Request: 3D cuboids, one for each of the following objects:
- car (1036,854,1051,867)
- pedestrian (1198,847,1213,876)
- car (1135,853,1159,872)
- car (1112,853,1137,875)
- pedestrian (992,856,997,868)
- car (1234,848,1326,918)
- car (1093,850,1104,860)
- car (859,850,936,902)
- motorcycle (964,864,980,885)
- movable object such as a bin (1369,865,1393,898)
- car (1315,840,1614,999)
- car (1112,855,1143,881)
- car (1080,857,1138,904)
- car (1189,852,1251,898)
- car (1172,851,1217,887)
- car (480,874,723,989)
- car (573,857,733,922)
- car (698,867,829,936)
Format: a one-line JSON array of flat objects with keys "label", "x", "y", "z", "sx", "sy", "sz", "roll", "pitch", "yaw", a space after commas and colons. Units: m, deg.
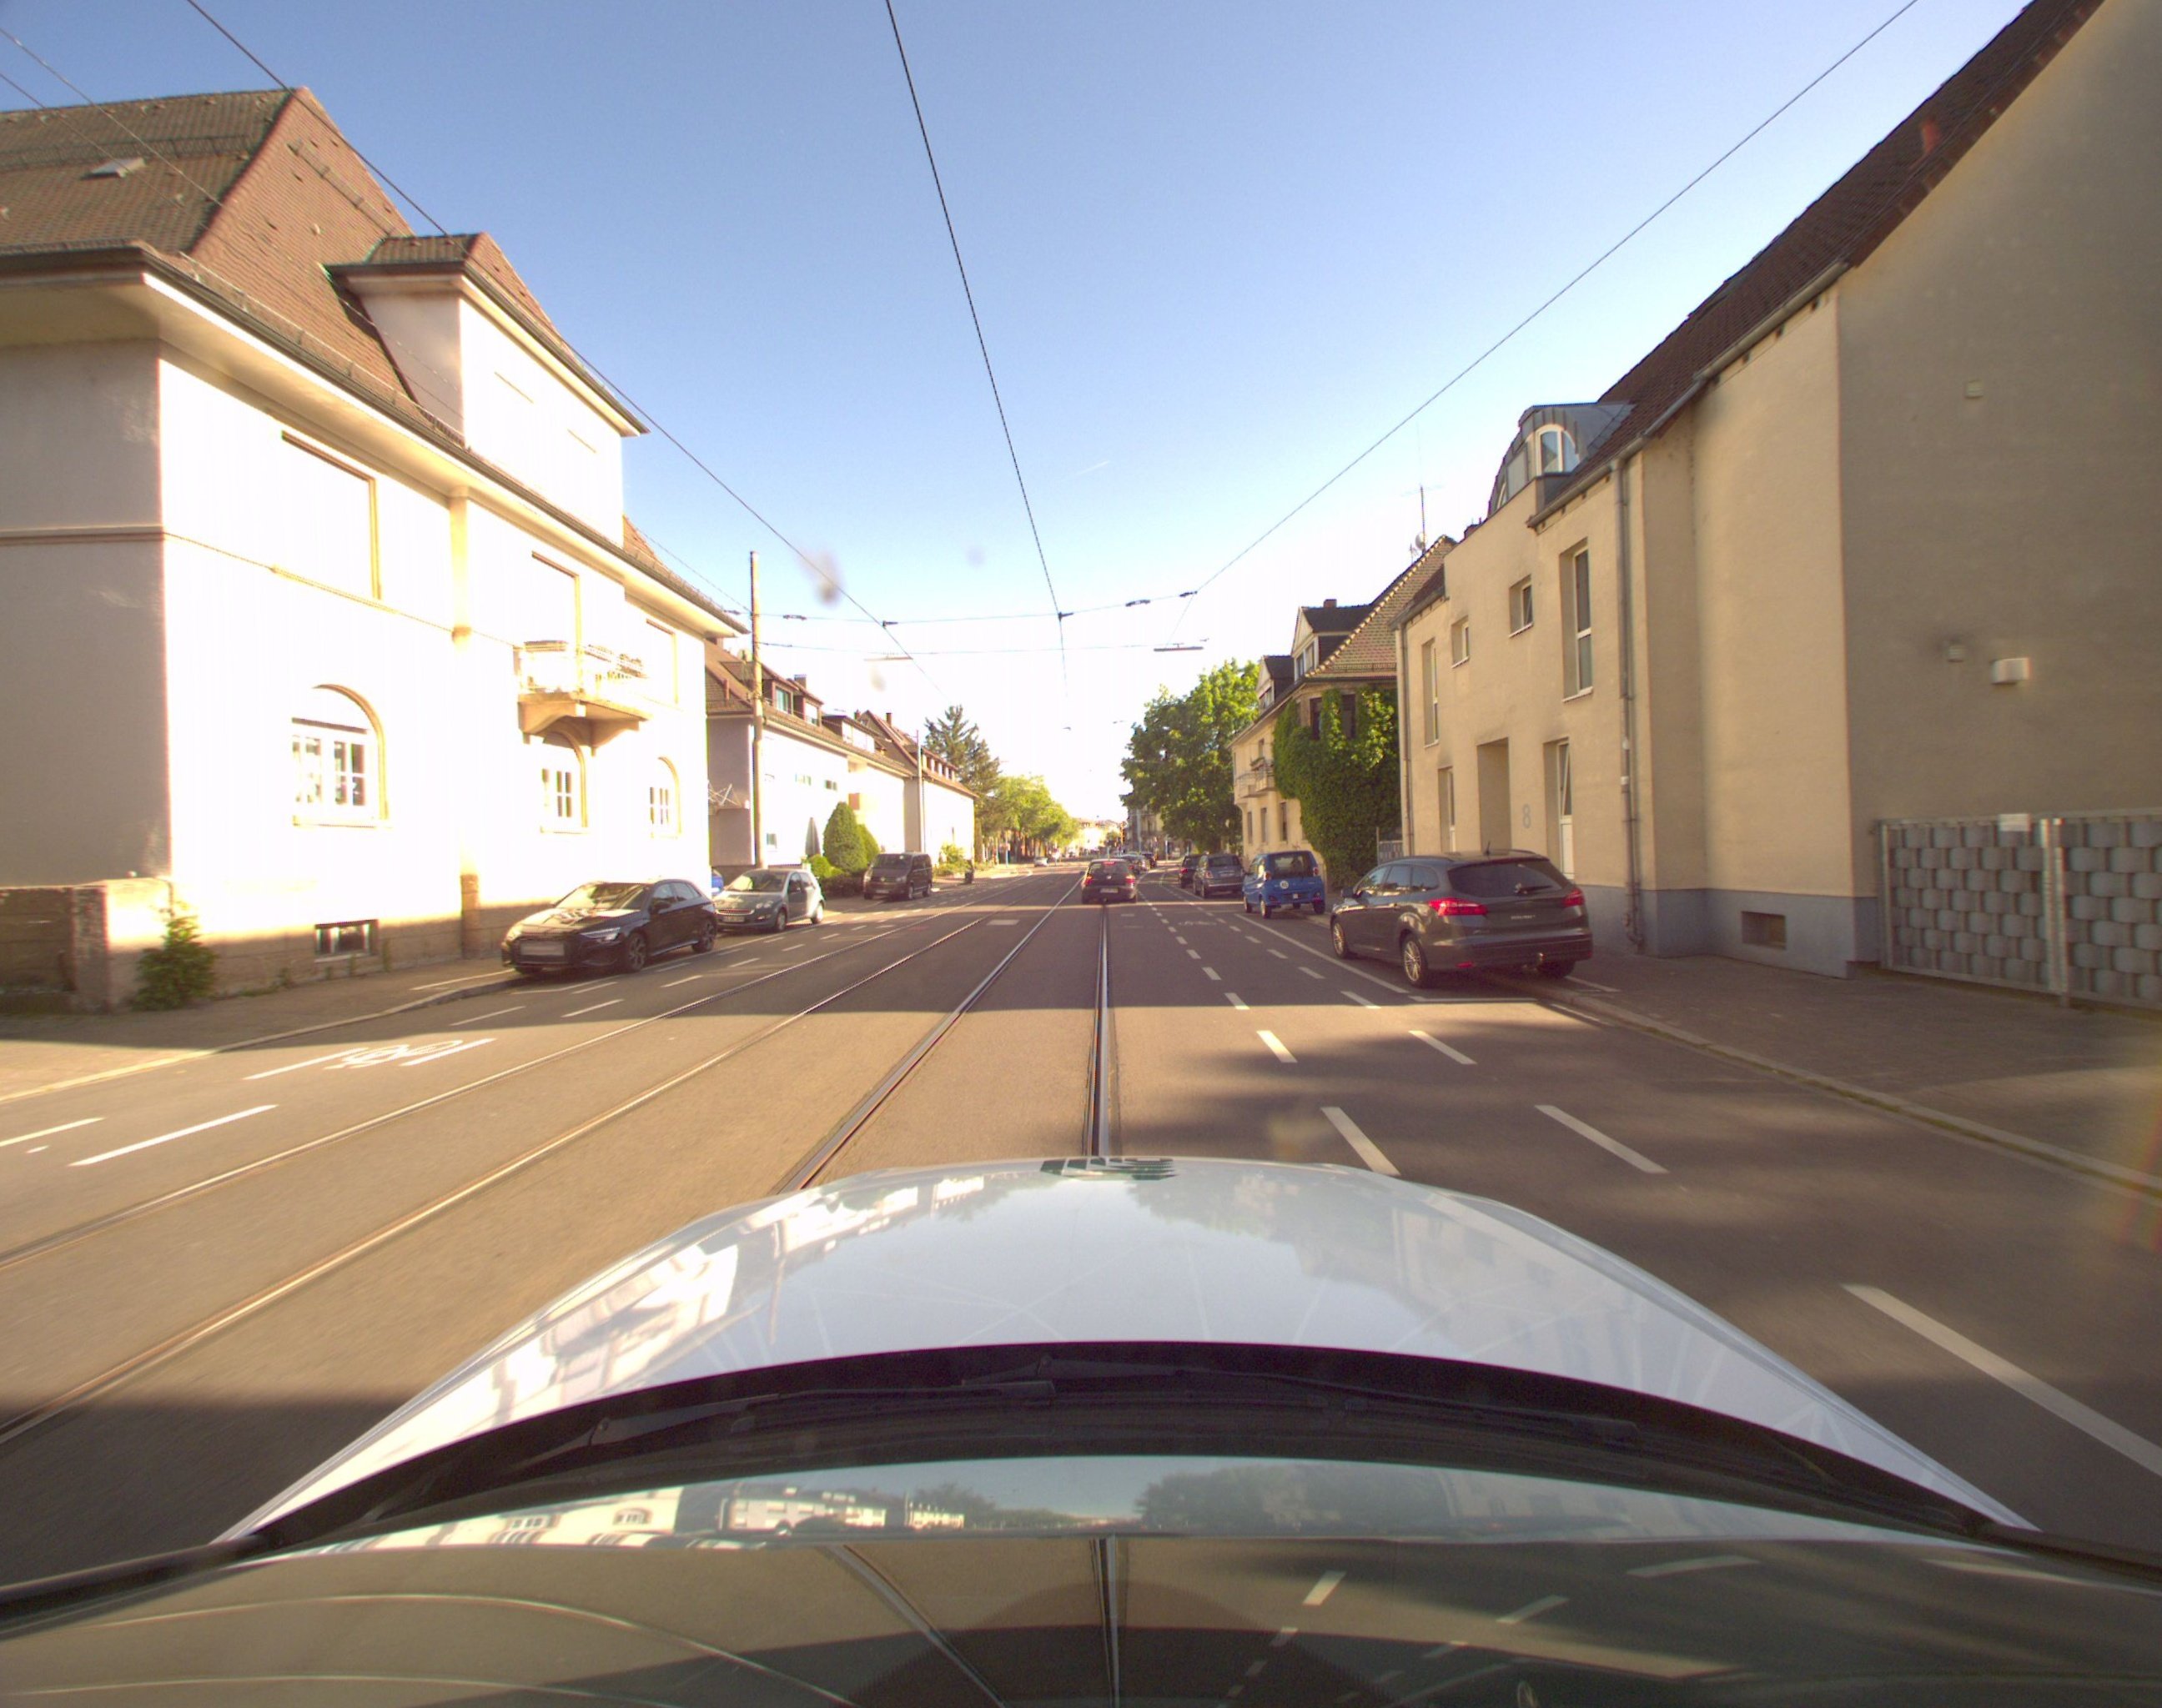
[{"label": "car", "x": -4.690, "y": 0.818, "z": 101.267, "sx": 1.570, "sy": 1.477, "sz": 3.441, "roll": -3, "pitch": 0, "yaw": 1}, {"label": "pedestrian", "x": 7.426, "y": 0.440, "z": 48.535, "sx": 0.715, "sy": 1.688, "sz": 0.870, "roll": -3, "pitch": 0, "yaw": 0}, {"label": "car", "x": 5.506, "y": 0.692, "z": 68.270, "sx": 1.565, "sy": 1.311, "sz": 3.646, "roll": -2, "pitch": 2, "yaw": -1}, {"label": "car", "x": 3.185, "y": 0.713, "z": 60.290, "sx": 1.733, "sy": 1.441, "sz": 3.811, "roll": -2, "pitch": 0, "yaw": 2}, {"label": "pedestrian", "x": -12.587, "y": 1.155, "z": 118.794, "sx": 0.610, "sy": 1.689, "sz": 0.729, "roll": 1, "pitch": 0, "yaw": -17}, {"label": "car", "x": 4.824, "y": 0.650, "z": 20.112, "sx": 1.452, "sy": 1.599, "sz": 3.293, "roll": 0, "pitch": 0, "yaw": 0}, {"label": "car", "x": 3.078, "y": 0.179, "z": 142.991, "sx": 1.781, "sy": 1.860, "sz": 4.000, "roll": 1, "pitch": 0, "yaw": 0}, {"label": "car", "x": -7.622, "y": 0.858, "z": 34.416, "sx": 1.898, "sy": 2.014, "sz": 4.953, "roll": 0, "pitch": 0, "yaw": 3}, {"label": "motorcycle", "x": -6.720, "y": 1.256, "z": 50.109, "sx": 0.534, "sy": 1.162, "sz": 2.173, "roll": -3, "pitch": 0, "yaw": 2}, {"label": "movable object such as a bin", "x": 8.662, "y": 0.778, "z": 23.531, "sx": 0.491, "sy": 0.916, "sz": 0.514, "roll": -2, "pitch": 0, "yaw": -1}, {"label": "car", "x": 4.514, "y": 0.654, "z": 10.442, "sx": 1.739, "sy": 1.599, "sz": 4.433, "roll": 0, "pitch": 0, "yaw": 0}, {"label": "car", "x": 2.603, "y": 0.757, "z": 45.944, "sx": 1.628, "sy": 1.372, "sz": 3.759, "roll": -2, "pitch": 0, "yaw": 2}, {"label": "car", "x": 0.903, "y": 0.793, "z": 26.379, "sx": 1.709, "sy": 1.402, "sz": 4.008, "roll": 0, "pitch": 0, "yaw": 2}, {"label": "car", "x": 4.846, "y": 0.696, "z": 28.799, "sx": 1.596, "sy": 1.525, "sz": 3.548, "roll": 0, "pitch": 0, "yaw": 0}, {"label": "car", "x": 5.148, "y": 0.673, "z": 37.300, "sx": 1.659, "sy": 1.564, "sz": 3.772, "roll": -1, "pitch": 0, "yaw": 2}, {"label": "car", "x": -7.755, "y": 1.150, "z": 13.719, "sx": 1.658, "sy": 1.477, "sz": 4.247, "roll": -2, "pitch": 0, "yaw": -2}, {"label": "car", "x": -13.108, "y": 1.058, "z": 25.092, "sx": 3.913, "sy": 1.783, "sz": 1.754, "roll": -2, "pitch": 0, "yaw": -1}, {"label": "car", "x": -7.788, "y": 1.107, "z": 20.374, "sx": 1.670, "sy": 1.477, "sz": 3.837, "roll": 0, "pitch": 0, "yaw": 2}]
